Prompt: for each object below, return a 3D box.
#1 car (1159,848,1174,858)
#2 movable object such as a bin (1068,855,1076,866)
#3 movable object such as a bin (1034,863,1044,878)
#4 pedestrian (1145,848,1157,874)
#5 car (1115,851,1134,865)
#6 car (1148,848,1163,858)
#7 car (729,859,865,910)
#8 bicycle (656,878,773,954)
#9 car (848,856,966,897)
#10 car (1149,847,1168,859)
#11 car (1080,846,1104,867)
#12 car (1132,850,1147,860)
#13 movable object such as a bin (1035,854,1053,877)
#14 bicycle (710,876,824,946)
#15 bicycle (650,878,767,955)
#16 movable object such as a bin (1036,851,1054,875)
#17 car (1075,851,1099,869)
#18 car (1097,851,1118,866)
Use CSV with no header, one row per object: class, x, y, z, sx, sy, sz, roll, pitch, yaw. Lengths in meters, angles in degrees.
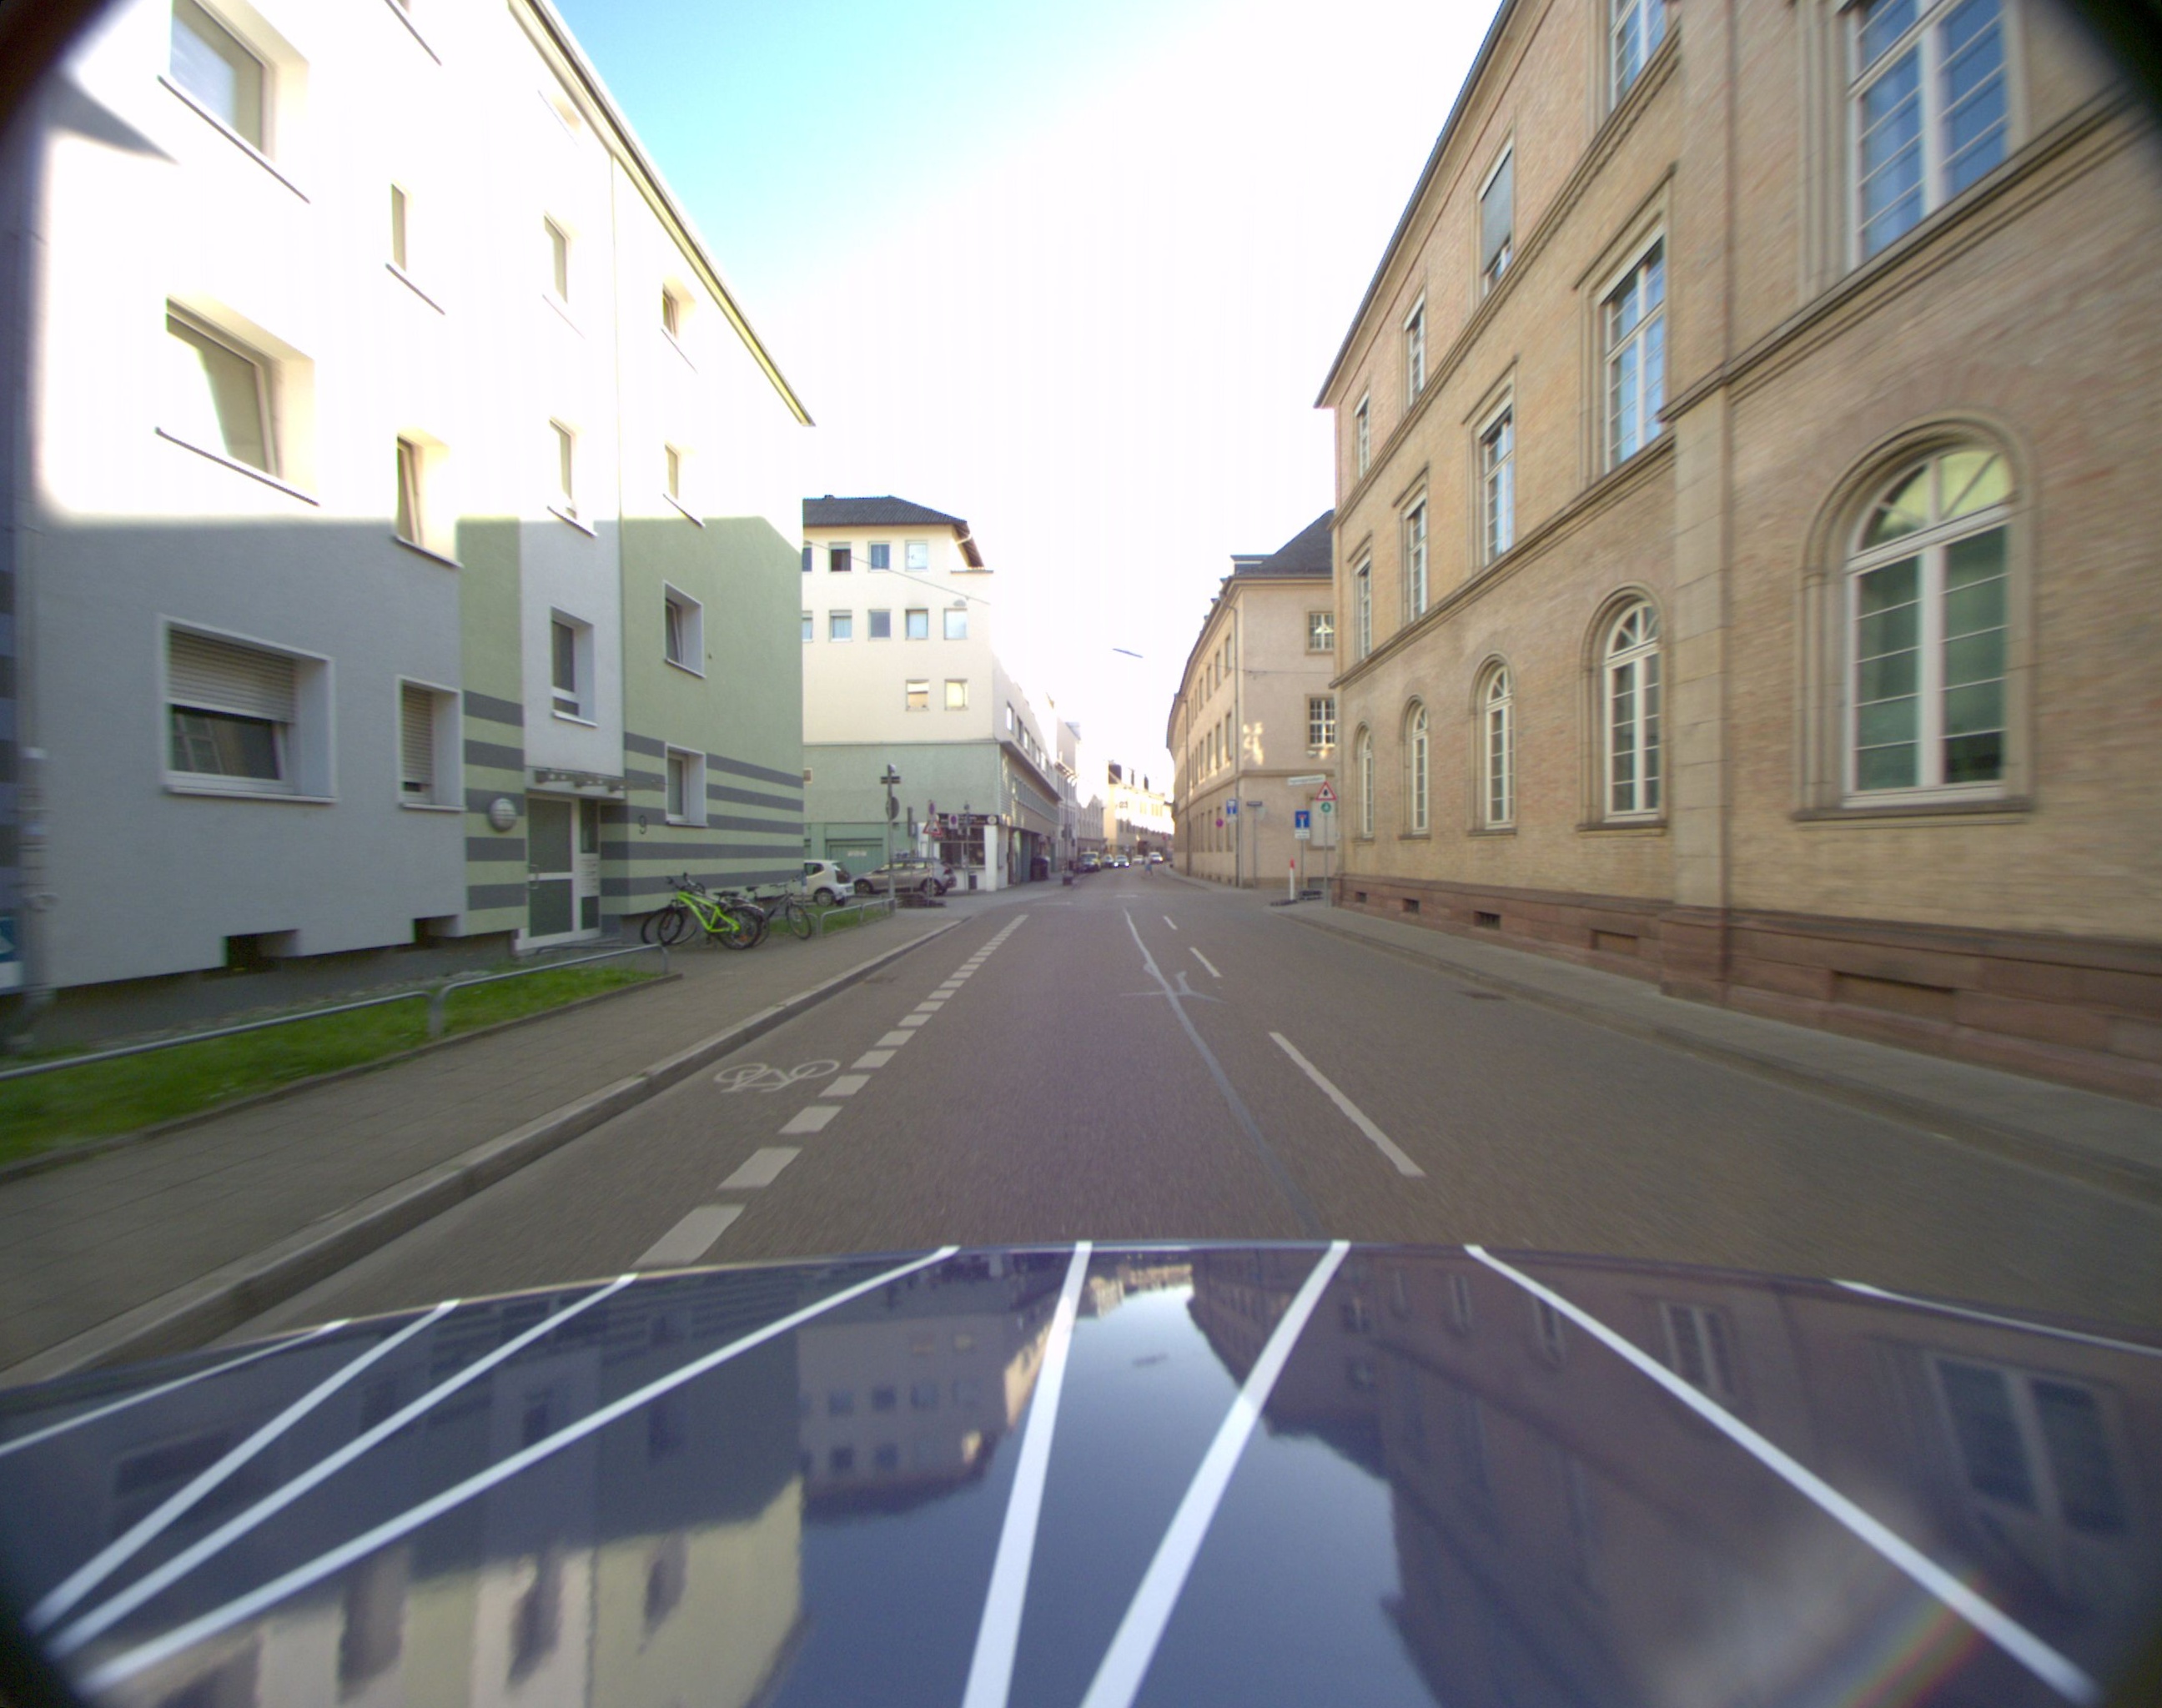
car,15.877,-0.230,140.759,1.773,1.574,3.861,-5,-1,19
movable object such as a bin,-0.909,0.634,74.801,0.607,1.045,0.708,4,1,4
movable object such as a bin,-2.605,1.022,46.703,0.558,0.894,0.523,1,3,3
pedestrian,4.546,0.449,49.353,0.694,1.660,0.875,-3,1,5
car,5.520,0.496,95.900,1.828,1.550,3.989,-2,0,9
car,12.846,-0.145,131.132,1.774,1.574,3.861,-5,-1,18
car,-8.727,0.912,23.575,3.553,1.473,1.709,0,1,2
bicycle,-5.835,0.993,12.134,1.646,1.135,0.283,2,0,-8
car,-6.628,0.846,29.325,4.088,1.473,1.865,-1,1,1
car,12.624,-0.187,123.160,1.945,1.850,5.201,-5,-1,18
car,1.102,0.203,72.862,1.887,1.871,4.847,-2,0,5
car,9.222,0.119,119.654,1.733,1.539,4.004,-2,0,12
movable object such as a bin,-2.292,0.700,47.643,0.983,1.377,1.320,1,3,3
bicycle,-5.580,0.997,13.543,1.752,1.135,0.552,2,0,0
bicycle,-5.801,0.975,11.859,1.607,1.135,0.237,2,0,-8
movable object such as a bin,-2.324,0.593,49.280,0.983,1.472,1.551,1,3,3
car,0.562,0.492,66.881,1.887,1.480,4.369,-2,0,3
car,3.165,0.525,89.323,1.828,1.645,4.496,-2,0,10
